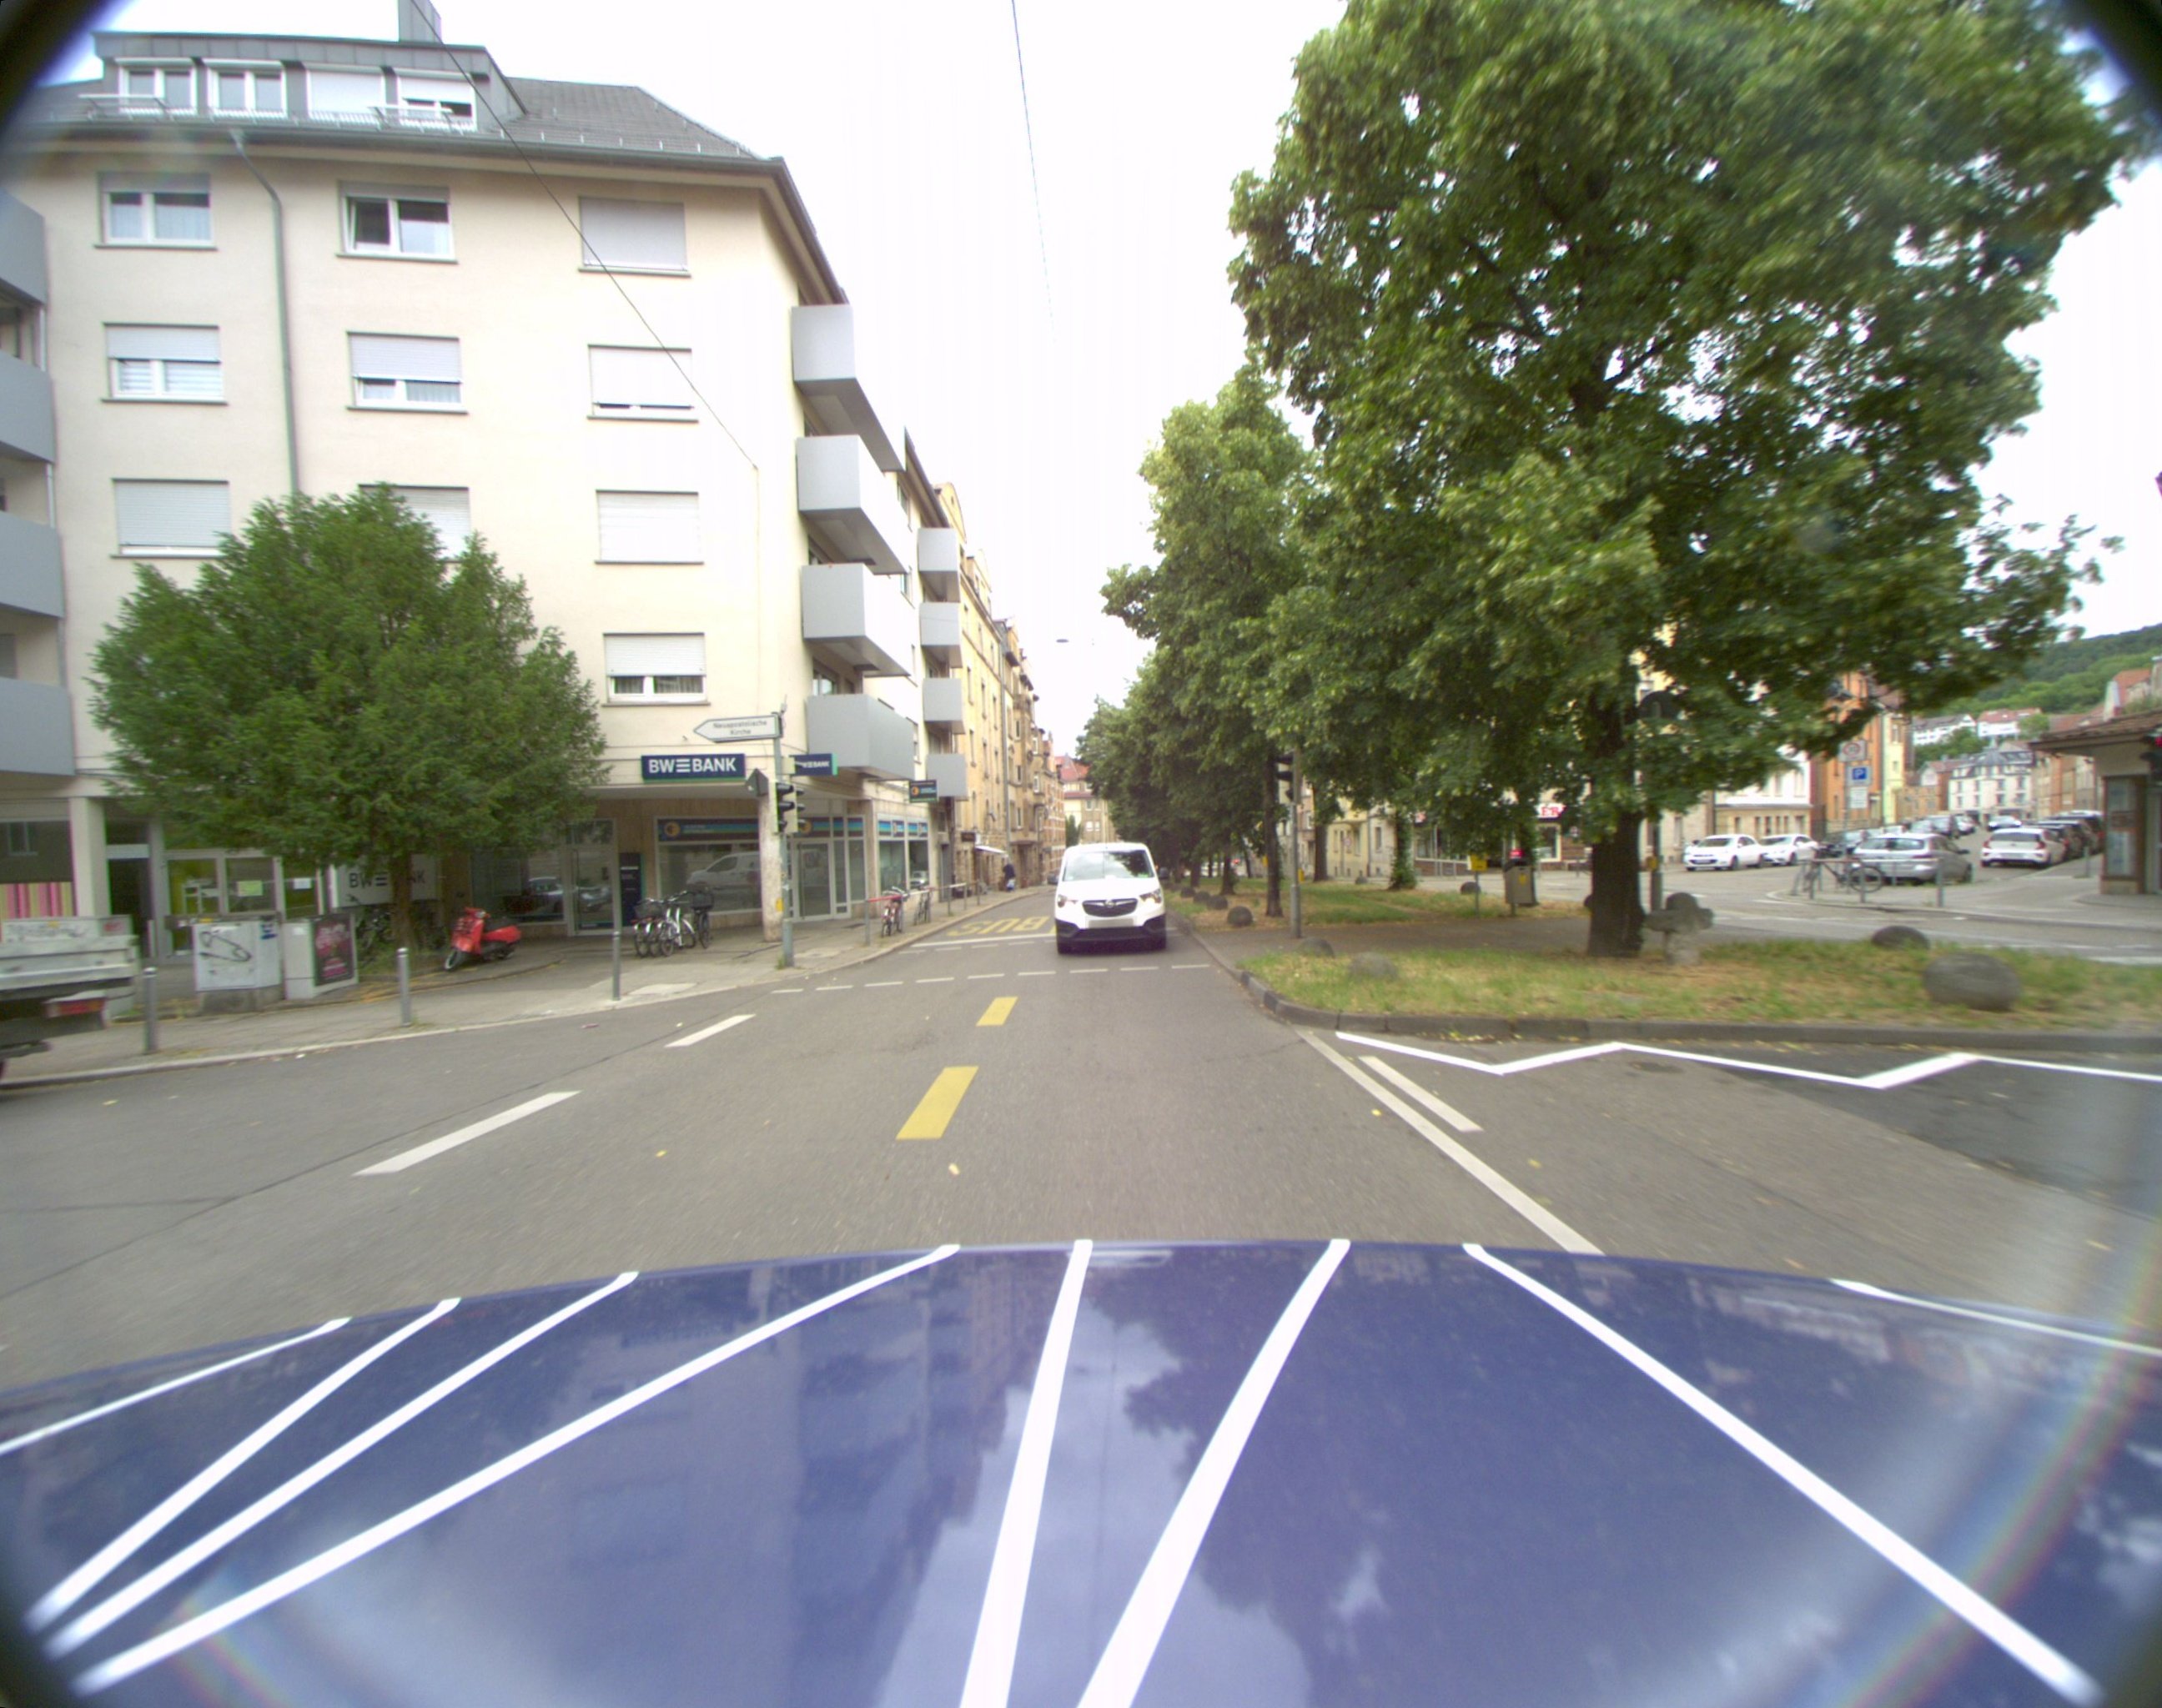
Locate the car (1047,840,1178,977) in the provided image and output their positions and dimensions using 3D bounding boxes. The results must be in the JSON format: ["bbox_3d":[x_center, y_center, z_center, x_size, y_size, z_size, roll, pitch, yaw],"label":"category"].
[{"bbox_3d":[0.486,0.733,12.671,1.745,1.831,4.342,-2,1,1],"label":"car"}]

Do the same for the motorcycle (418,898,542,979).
[{"bbox_3d":[-10.378,1.414,13.212,0.591,1.190,1.931,0,0,1],"label":"motorcycle"}]

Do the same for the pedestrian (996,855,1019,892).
[{"bbox_3d":[-4.158,1.090,43.286,1.083,2.002,1.204,-3,0,1],"label":"pedestrian"}]

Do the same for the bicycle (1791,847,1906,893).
[{"bbox_3d":[20.479,0.438,20.344,0.684,1.142,2.057,-4,-1,-12],"label":"bicycle"}]

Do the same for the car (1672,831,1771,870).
[{"bbox_3d":[27.734,-0.169,32.909,3.812,1.533,1.979,-3,1,-28],"label":"car"}]

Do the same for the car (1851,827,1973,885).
[{"bbox_3d":[24.921,0.052,22.775,3.646,1.532,1.686,-3,-1,-31],"label":"car"}]

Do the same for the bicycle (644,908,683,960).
[{"bbox_3d":[-8.254,1.559,15.039,0.184,0.902,1.236,-3,0,-7],"label":"bicycle"}]

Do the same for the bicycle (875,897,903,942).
[{"bbox_3d":[-4.319,1.457,17.116,0.154,0.902,1.285,-3,0,5],"label":"bicycle"}]

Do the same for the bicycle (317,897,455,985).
[{"bbox_3d":[-11.550,1.400,12.721,0.439,1.248,1.884,-3,0,3],"label":"bicycle"}]

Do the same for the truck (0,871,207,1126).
[{"bbox_3d":[-11.872,1.392,6.231,5.859,2.094,2.553,-4,0,-7],"label":"truck"}]

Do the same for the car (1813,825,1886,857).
[{"bbox_3d":[41.109,-0.690,40.633,3.519,1.533,1.979,-3,1,-32],"label":"car"}]

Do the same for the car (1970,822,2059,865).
[{"bbox_3d":[36.466,-0.409,29.670,3.519,1.533,1.725,-3,1,-32],"label":"car"}]

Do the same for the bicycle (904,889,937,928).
[{"bbox_3d":[-4.201,1.409,19.940,0.442,0.902,1.285,-3,0,5],"label":"bicycle"}]

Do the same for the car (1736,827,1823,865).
[{"bbox_3d":[32.150,-0.371,34.967,3.518,1.533,1.860,-3,1,-27],"label":"car"}]

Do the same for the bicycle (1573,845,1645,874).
[{"bbox_3d":[22.333,0.226,32.165,2.345,1.094,0.775,-3,0,19],"label":"bicycle"}]

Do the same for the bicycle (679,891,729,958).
[{"bbox_3d":[-7.494,1.382,15.154,0.400,1.197,1.284,-4,0,-7],"label":"bicycle"}]

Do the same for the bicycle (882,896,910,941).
[{"bbox_3d":[-4.150,1.428,17.107,0.154,0.902,1.285,-3,0,5],"label":"bicycle"}]

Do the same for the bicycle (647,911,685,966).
[{"bbox_3d":[-7.764,1.560,14.242,0.120,0.902,1.284,-3,0,-7],"label":"bicycle"}]

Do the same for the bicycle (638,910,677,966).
[{"bbox_3d":[-7.912,1.551,14.217,0.141,0.902,1.249,-2,1,-7],"label":"bicycle"}]
